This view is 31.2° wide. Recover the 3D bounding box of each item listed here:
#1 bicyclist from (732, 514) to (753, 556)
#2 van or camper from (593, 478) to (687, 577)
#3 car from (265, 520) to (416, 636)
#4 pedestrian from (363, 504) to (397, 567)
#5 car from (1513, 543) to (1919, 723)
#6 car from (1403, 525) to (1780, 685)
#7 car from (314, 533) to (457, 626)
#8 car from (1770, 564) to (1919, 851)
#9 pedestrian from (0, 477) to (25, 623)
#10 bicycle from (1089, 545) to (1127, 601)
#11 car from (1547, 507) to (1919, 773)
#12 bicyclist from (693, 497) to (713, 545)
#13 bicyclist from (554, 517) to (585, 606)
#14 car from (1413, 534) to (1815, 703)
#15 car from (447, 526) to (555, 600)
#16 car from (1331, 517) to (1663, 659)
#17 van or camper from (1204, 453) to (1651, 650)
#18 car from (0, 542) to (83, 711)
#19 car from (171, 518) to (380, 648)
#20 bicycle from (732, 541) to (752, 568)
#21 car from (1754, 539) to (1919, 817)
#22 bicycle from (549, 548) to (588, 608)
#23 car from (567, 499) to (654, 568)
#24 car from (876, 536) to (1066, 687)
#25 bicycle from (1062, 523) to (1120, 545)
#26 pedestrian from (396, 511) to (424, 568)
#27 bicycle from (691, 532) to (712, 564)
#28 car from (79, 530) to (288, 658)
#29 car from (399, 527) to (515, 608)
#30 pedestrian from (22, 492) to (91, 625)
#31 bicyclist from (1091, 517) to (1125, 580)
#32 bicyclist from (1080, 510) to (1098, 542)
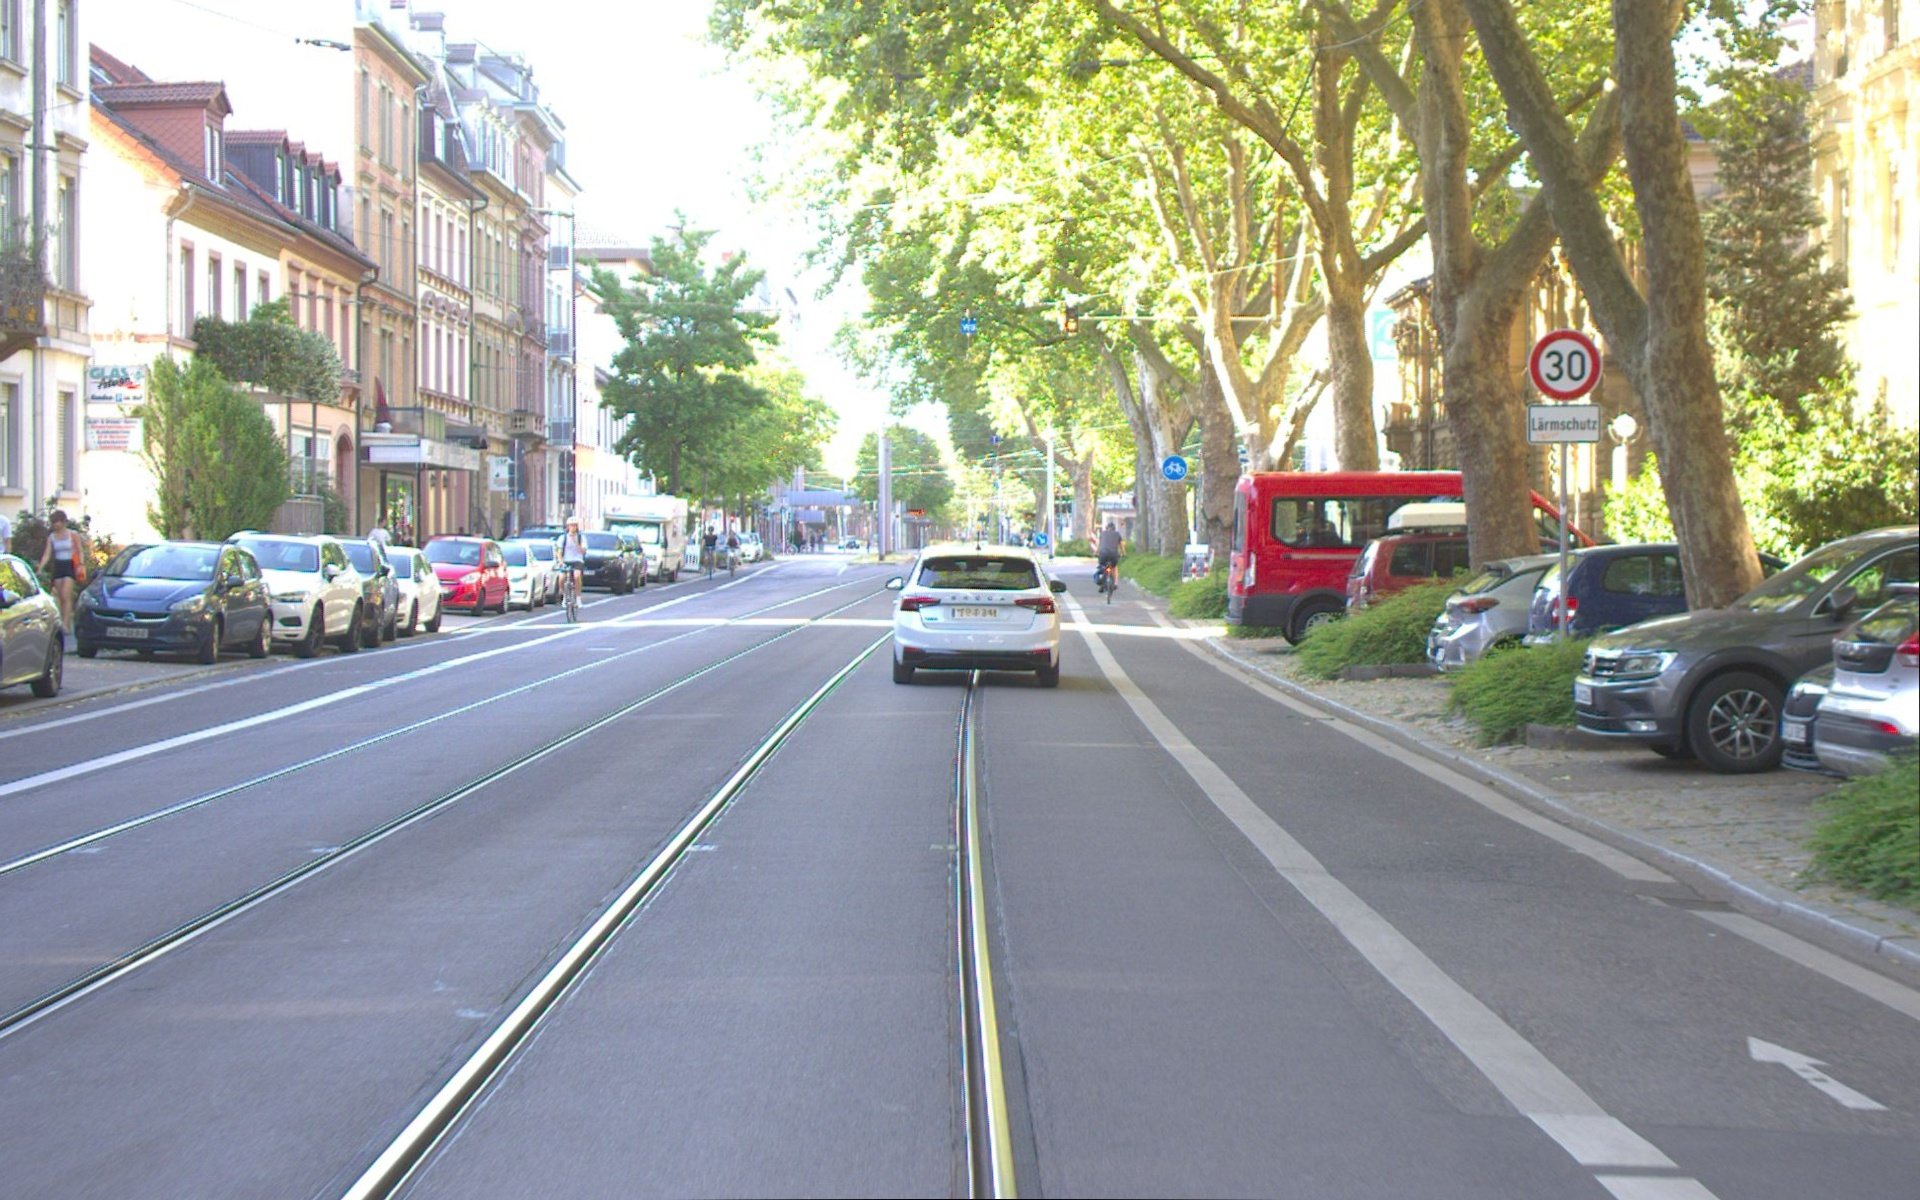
[{"bbox_3d":[-7.843,-2.336,123.794,0.638,1.498,1.070,-1,1,1],"label":"bicyclist"},{"bbox_3d":[-10.561,-2.394,114.008,2.217,3.129,7.113,1,1,2],"label":"van or camper"},{"bbox_3d":[-9.503,-0.379,53.058,1.856,1.698,4.660,0,1,-5],"label":"car"},{"bbox_3d":[-15.168,-1.684,89.882,0.771,1.628,0.657,1,1,-15],"label":"pedestrian"},{"bbox_3d":[6.950,0.285,31.263,3.595,1.594,1.541,0,0,1],"label":"car"},{"bbox_3d":[6.718,0.038,36.821,3.670,1.518,1.694,-2,2,0],"label":"car"},{"bbox_3d":[-9.738,-0.376,58.509,1.687,1.472,4.258,1,1,0],"label":"car"},{"bbox_3d":[6.683,0.534,18.903,4.027,1.475,1.681,-1,1,-1],"label":"car"},{"bbox_3d":[-13.470,-0.700,47.748,0.759,2.007,0.830,0,1,-2],"label":"pedestrian"},{"bbox_3d":[3.159,-0.590,73.633,0.680,1.151,2.964,1,1,0],"label":"bicycle"},{"bbox_3d":[6.514,0.215,24.465,4.261,1.713,1.849,-2,1,-2],"label":"car"},{"bbox_3d":[-8.794,-2.713,117.777,0.535,1.629,0.896,-2,1,2],"label":"bicyclist"},{"bbox_3d":[-7.223,-0.717,63.648,0.473,1.630,0.800,0,1,1],"label":"bicyclist"},{"bbox_3d":[6.373,0.160,33.759,3.595,1.512,1.694,-2,1,0],"label":"car"},{"bbox_3d":[-9.863,-0.820,74.100,1.827,1.497,4.689,1,1,-2],"label":"car"},{"bbox_3d":[6.746,-0.150,43.448,3.818,1.643,1.767,-2,0,-2],"label":"car"},{"bbox_3d":[6.468,-0.705,48.039,5.814,2.510,2.288,-2,2,-2],"label":"van or camper"},{"bbox_3d":[-9.665,0.213,32.821,1.662,1.515,4.065,1,1,-2],"label":"car"},{"bbox_3d":[-9.432,-0.280,47.735,1.857,1.698,4.763,0,1,1],"label":"car"},{"bbox_3d":[-7.840,-1.627,123.798,0.499,0.940,1.921,-2,1,2],"label":"bicycle"},{"bbox_3d":[7.170,0.432,21.416,4.027,1.638,1.681,-1,1,-2],"label":"car"},{"bbox_3d":[-7.227,-0.413,63.552,0.481,1.082,1.846,0,1,1],"label":"bicycle"},{"bbox_3d":[-9.716,-1.871,95.886,1.964,1.775,4.938,3,1,-2],"label":"car"},{"bbox_3d":[0.064,0.083,36.244,1.842,1.475,3.839,1,1,-2],"label":"car"},{"bbox_3d":[6.353,-3.200,166.809,2.772,0.996,0.592,2,1,15],"label":"bicycle"},{"bbox_3d":[-14.421,-1.585,90.119,0.635,1.455,0.657,1,1,-16],"label":"pedestrian"},{"bbox_3d":[-8.838,-1.782,117.487,0.484,1.044,2.039,-2,1,2],"label":"bicycle"},{"bbox_3d":[-9.616,-0.113,42.844,1.554,1.510,3.924,0,1,2],"label":"car"},{"bbox_3d":[-9.977,-0.669,68.382,1.569,1.557,3.448,0,1,4],"label":"car"},{"bbox_3d":[-12.468,-0.579,47.472,0.759,1.815,0.830,0,1,-3],"label":"pedestrian"},{"bbox_3d":[3.166,-1.102,73.735,0.679,1.334,0.525,1,1,0],"label":"bicyclist"},{"bbox_3d":[6.259,-3.592,166.856,0.737,1.583,0.586,0,1,13],"label":"bicyclist"}]
